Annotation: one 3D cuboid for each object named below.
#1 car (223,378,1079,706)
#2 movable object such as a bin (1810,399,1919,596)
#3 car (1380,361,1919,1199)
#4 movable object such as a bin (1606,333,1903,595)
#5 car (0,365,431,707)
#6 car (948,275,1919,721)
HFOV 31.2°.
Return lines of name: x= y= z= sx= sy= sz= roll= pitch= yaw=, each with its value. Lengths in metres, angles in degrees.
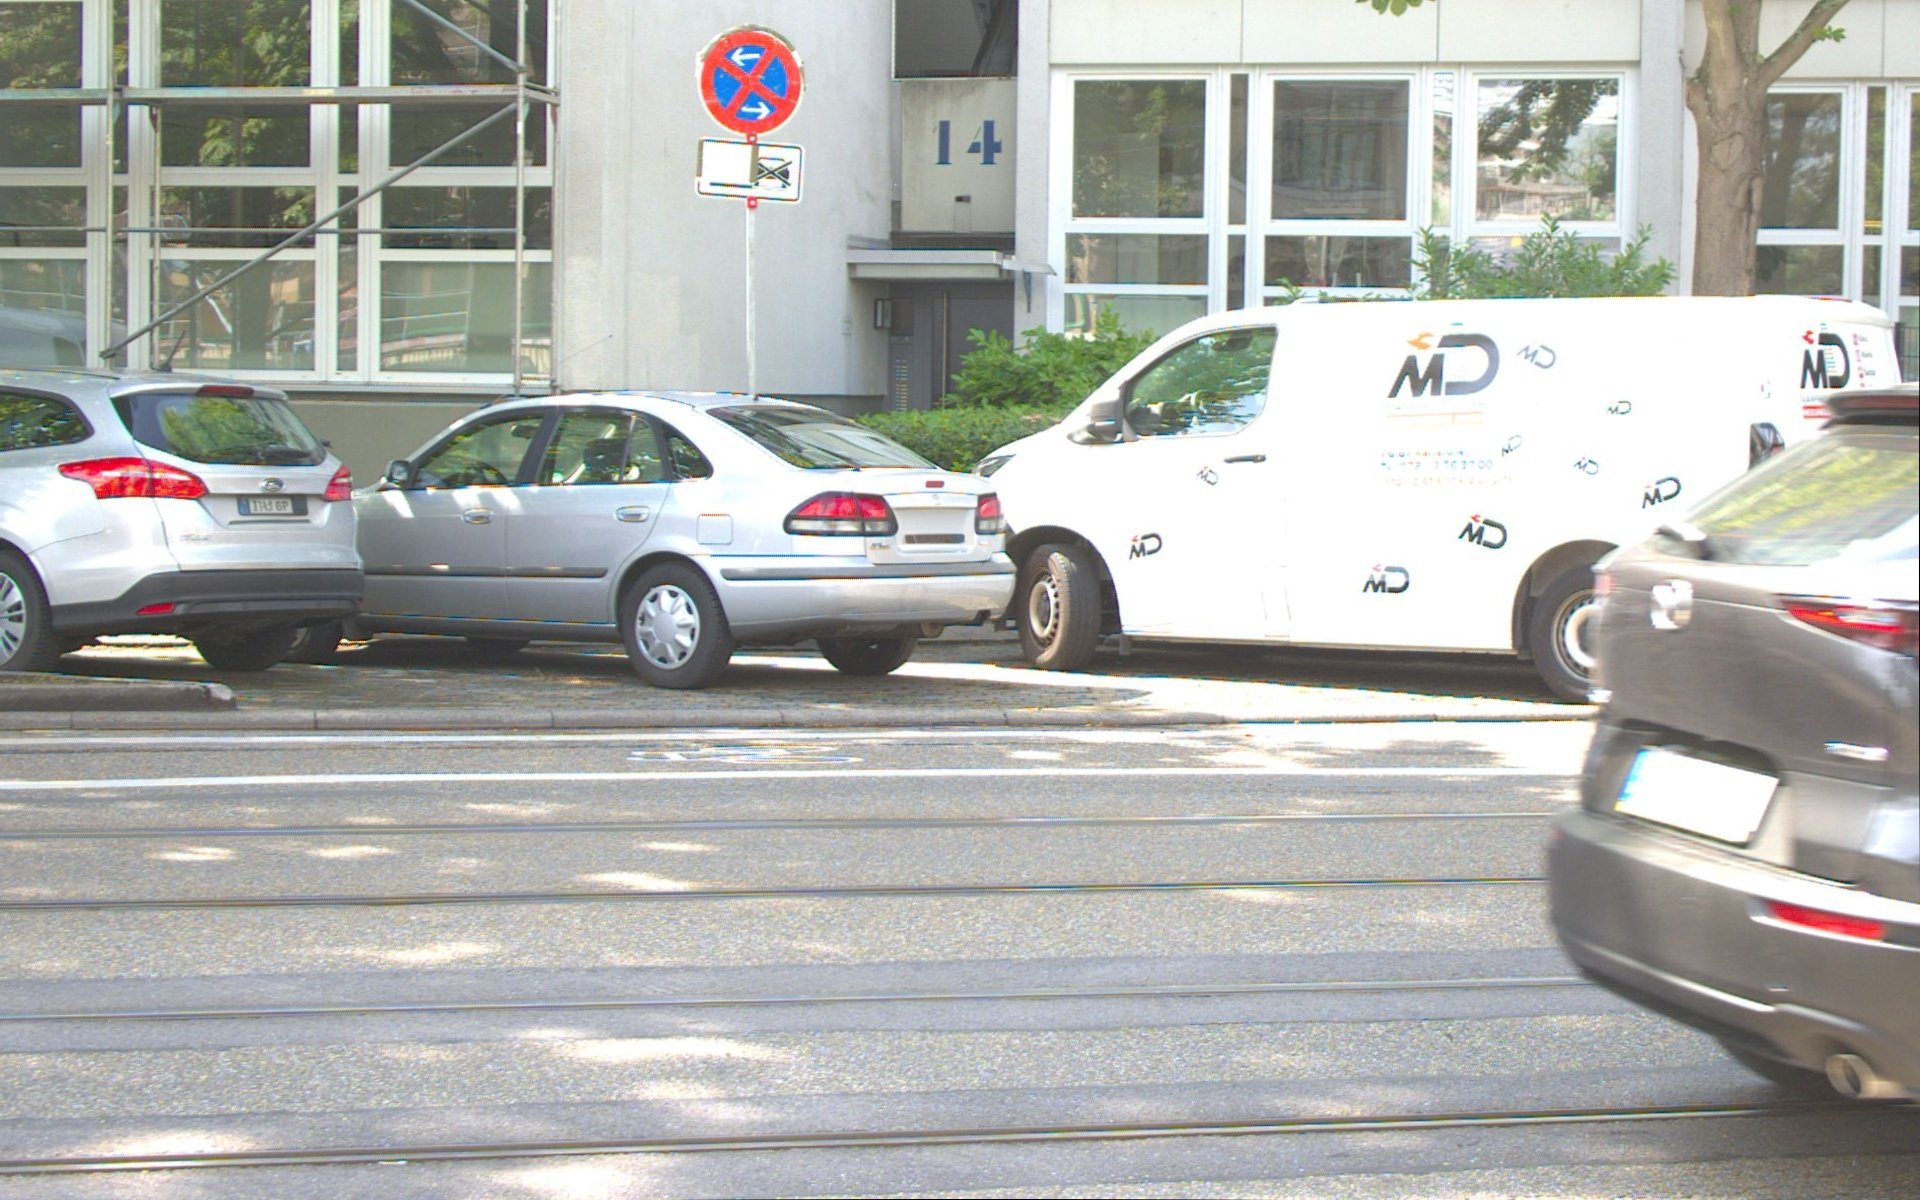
car: x=-1.643 y=-0.379 z=17.563 sx=4.166 sy=1.444 sz=1.819 roll=3 pitch=4 yaw=35
movable object such as a bin: x=7.159 y=-0.715 z=24.687 sx=1.533 sy=1.359 sz=1.392 roll=1 pitch=1 yaw=-16
car: x=3.164 y=0.348 z=6.428 sx=4.335 sy=1.506 sz=1.796 roll=0 pitch=5 yaw=-13
movable object such as a bin: x=5.595 y=-0.937 z=24.296 sx=1.533 sy=1.775 sz=1.392 roll=1 pitch=1 yaw=-16
car: x=-4.814 y=-0.412 z=16.961 sx=4.187 sy=1.495 sz=1.819 roll=3 pitch=4 yaw=32
car: x=2.413 y=-0.609 z=17.525 sx=4.681 sy=1.990 sz=1.965 roll=3 pitch=4 yaw=36
